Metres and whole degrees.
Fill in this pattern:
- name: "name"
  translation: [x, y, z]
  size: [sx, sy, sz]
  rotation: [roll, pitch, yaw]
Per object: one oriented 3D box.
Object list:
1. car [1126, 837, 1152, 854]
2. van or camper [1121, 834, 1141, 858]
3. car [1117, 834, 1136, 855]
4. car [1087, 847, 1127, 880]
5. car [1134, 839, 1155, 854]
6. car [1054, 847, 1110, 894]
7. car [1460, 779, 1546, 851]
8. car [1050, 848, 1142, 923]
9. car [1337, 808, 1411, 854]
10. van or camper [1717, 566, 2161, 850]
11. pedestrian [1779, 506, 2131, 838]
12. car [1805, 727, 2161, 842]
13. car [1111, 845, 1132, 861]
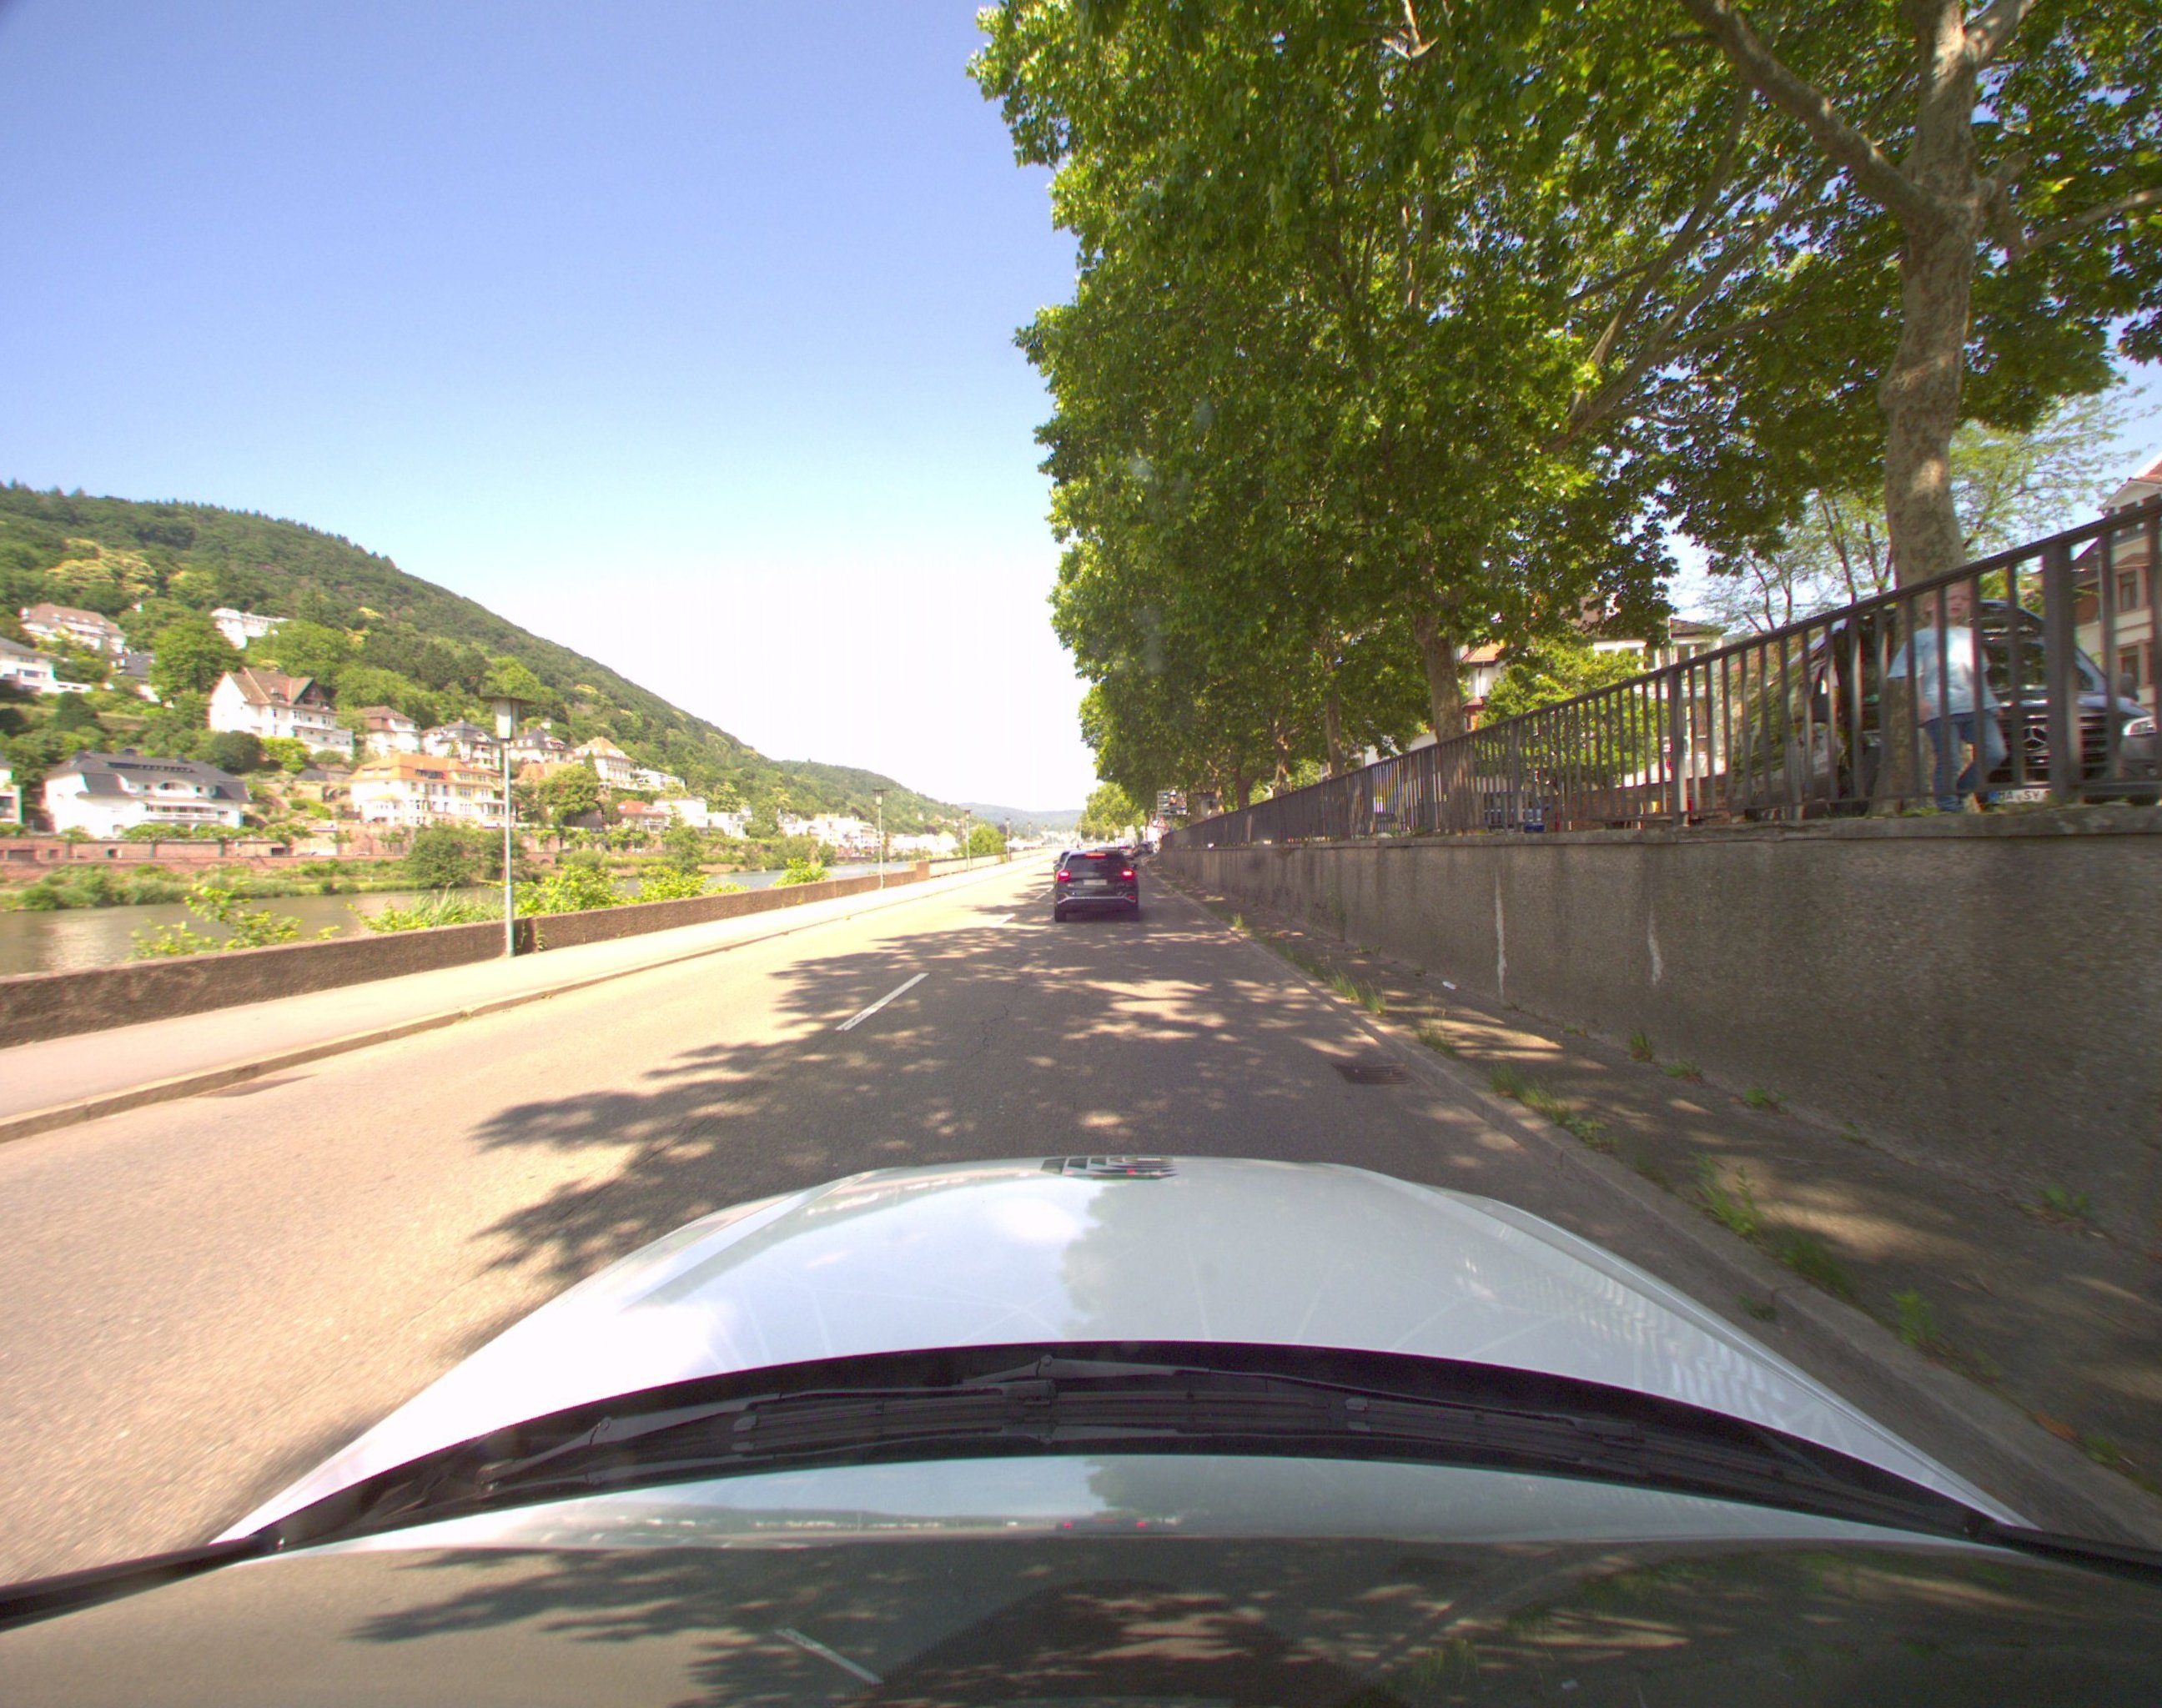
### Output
- name: "car"
  translation: [7.994, -1.215, 113.044]
  size: [3.087, 2.013, 5.826]
  rotation: [-4, 0, 1]
- name: "van or camper"
  translation: [6.269, -0.975, 102.186]
  size: [2.300, 2.847, 4.250]
  rotation: [-4, 0, 3]
- name: "car"
  translation: [5.179, -1.056, 93.246]
  size: [1.986, 2.169, 4.001]
  rotation: [-4, 0, 1]
- name: "car"
  translation: [1.243, 0.431, 39.225]
  size: [1.822, 1.486, 4.001]
  rotation: [-1, 0, 1]
- name: "car"
  translation: [9.564, -1.203, 123.029]
  size: [2.652, 2.013, 5.826]
  rotation: [-4, 0, 1]
- name: "car"
  translation: [0.092, 0.509, 28.672]
  size: [1.822, 1.511, 4.001]
  rotation: [-1, 0, 1]
- name: "car"
  translation: [10.038, -0.852, 19.406]
  size: [1.633, 1.500, 3.841]
  rotation: [-1, 0, 27]
- name: "car"
  translation: [0.353, 0.616, 18.428]
  size: [1.822, 1.486, 4.001]
  rotation: [-1, 0, 1]
- name: "car"
  translation: [10.370, -0.779, 28.663]
  size: [1.757, 1.469, 4.025]
  rotation: [-1, 1, 30]
- name: "van or camper"
  translation: [10.038, -1.227, 10.265]
  size: [2.315, 2.184, 7.402]
  rotation: [1, 0, 31]
- name: "pedestrian"
  translation: [4.315, -0.822, 4.117]
  size: [0.678, 1.424, 0.949]
  rotation: [-4, 0, 1]
- name: "car"
  translation: [14.980, -1.026, 13.706]
  size: [1.829, 1.512, 4.434]
  rotation: [-3, 0, 4]
- name: "car"
  translation: [3.793, -0.124, 76.388]
  size: [1.822, 1.444, 4.001]
  rotation: [-1, 0, 1]
